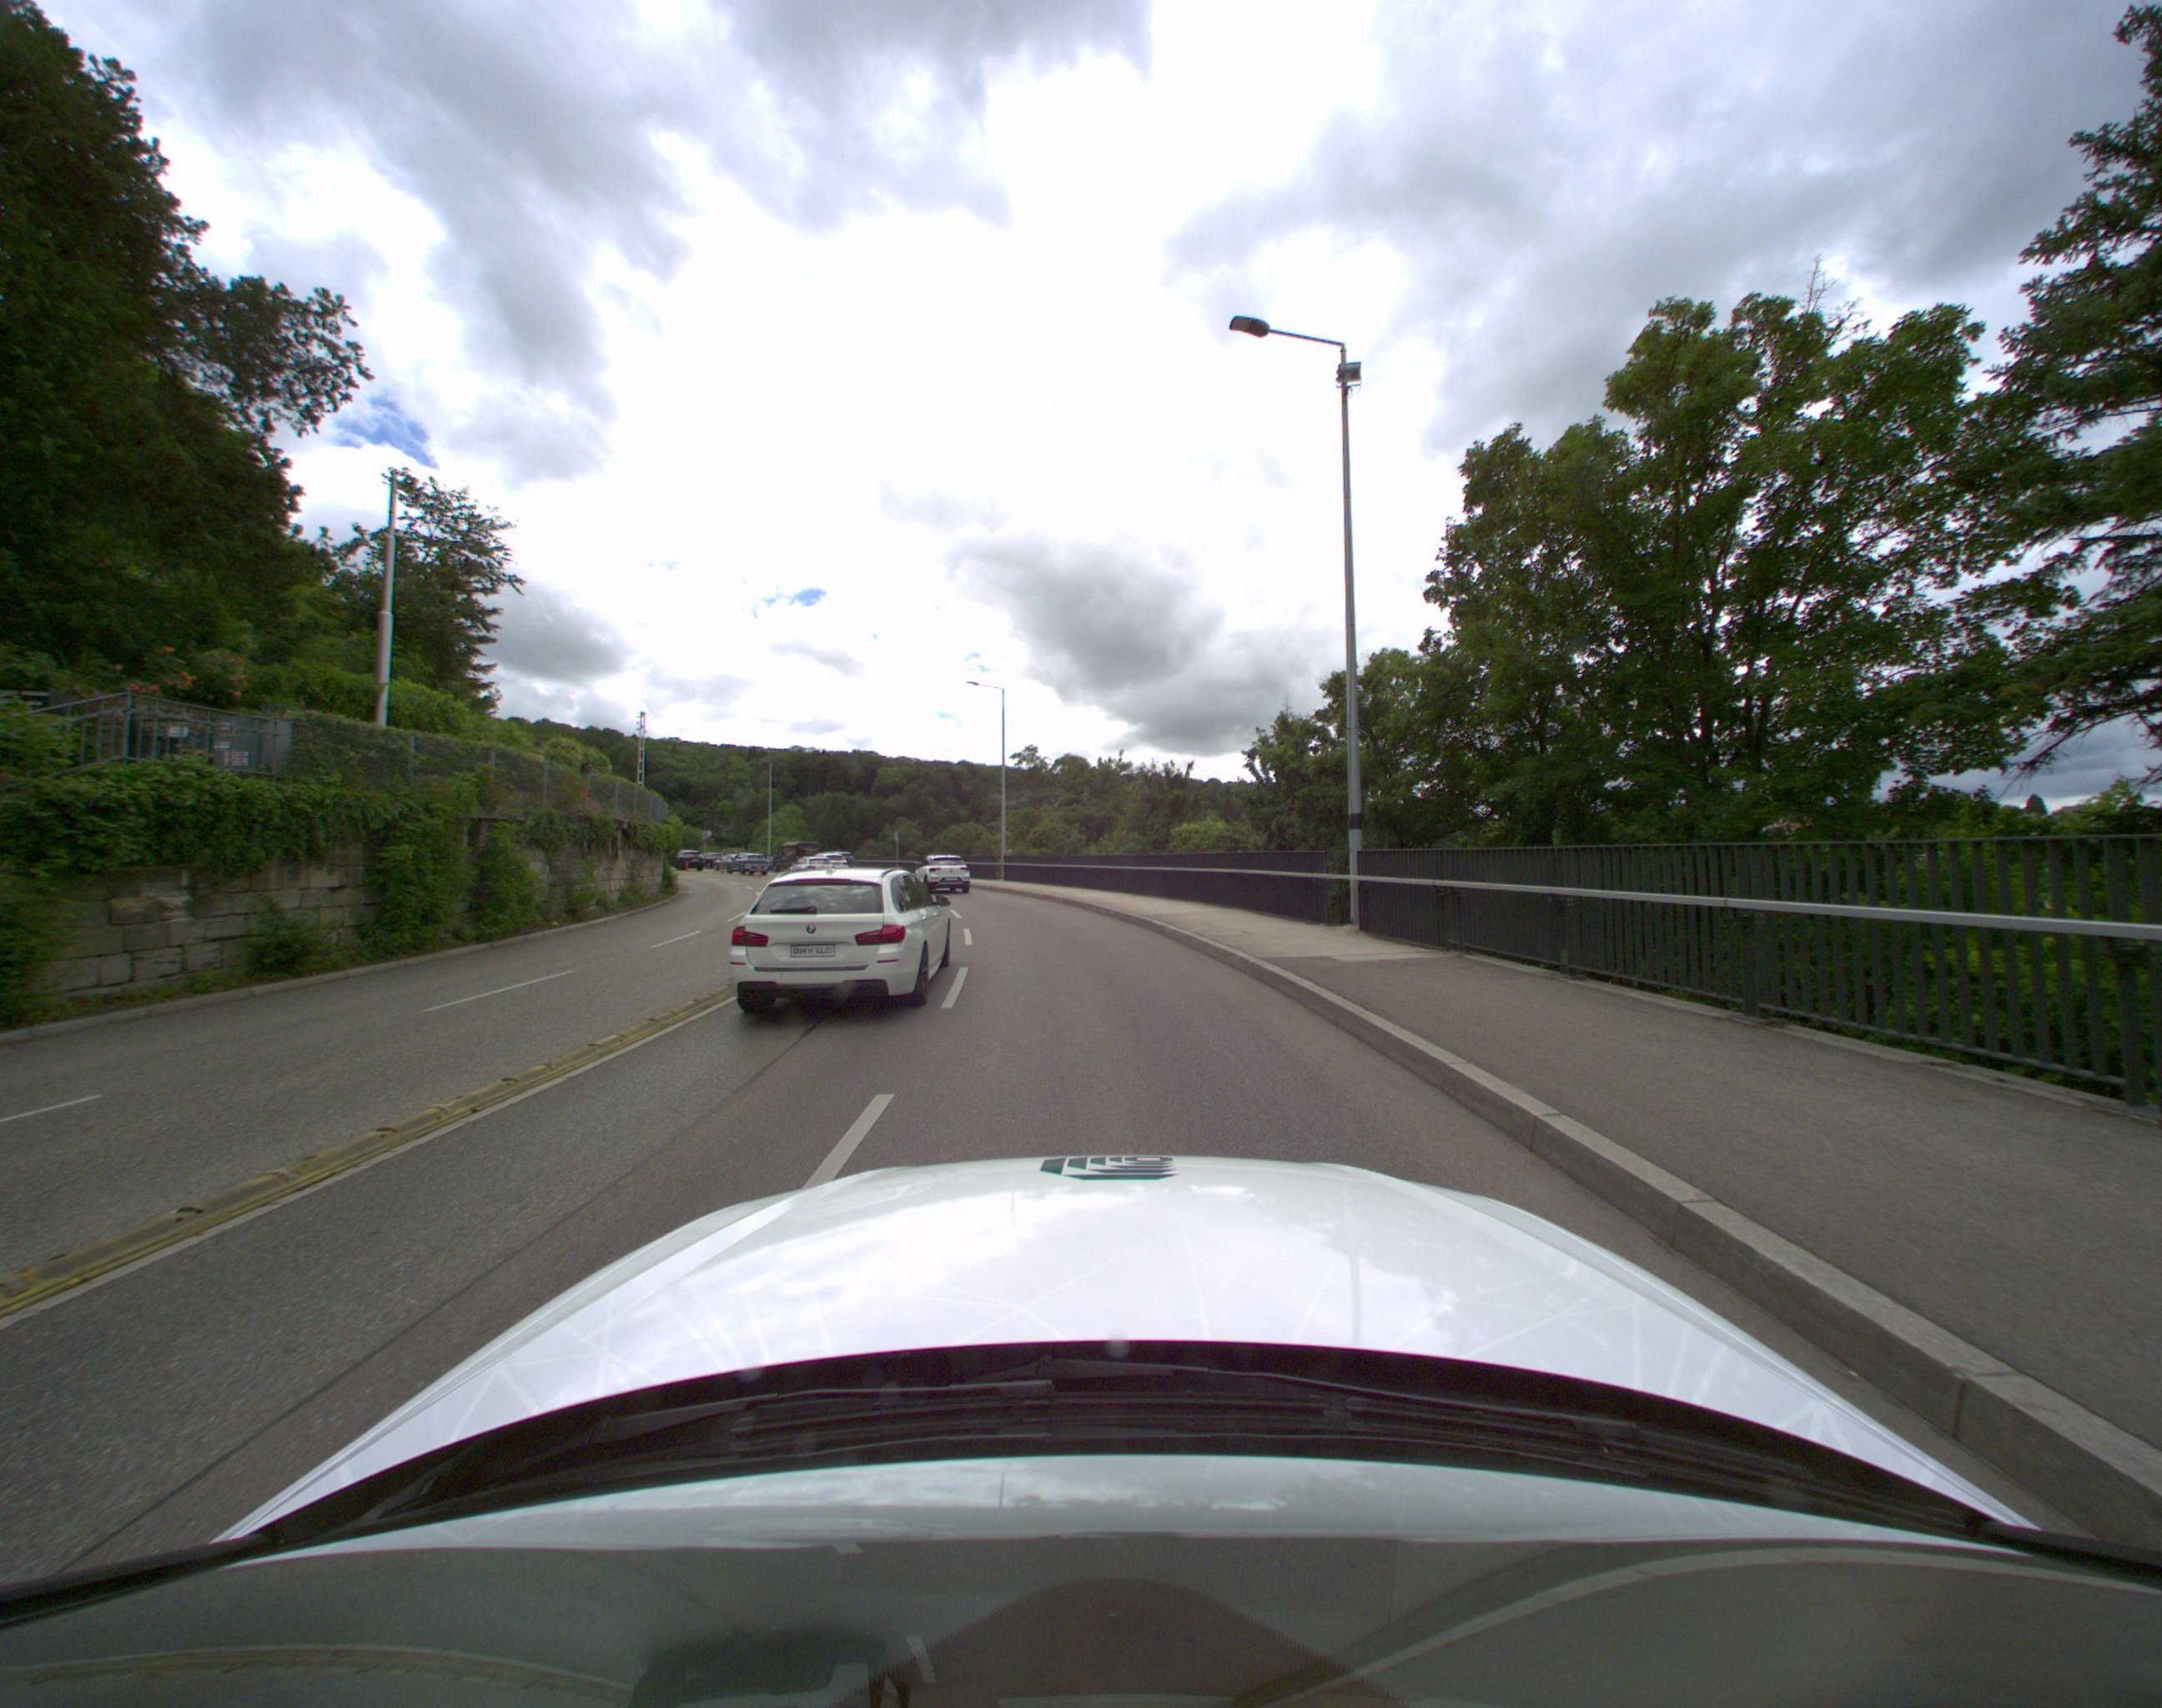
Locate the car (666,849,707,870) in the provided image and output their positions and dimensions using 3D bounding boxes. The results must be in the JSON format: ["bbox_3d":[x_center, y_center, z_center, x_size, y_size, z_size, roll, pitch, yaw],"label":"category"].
[{"bbox_3d":[-32.573,0.399,67.205,3.950,1.689,1.832,1,1,43],"label":"car"}]

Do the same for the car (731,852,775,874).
[{"bbox_3d":[-23.607,0.608,58.514,2.009,1.541,3.965,0,1,-37],"label":"car"}]

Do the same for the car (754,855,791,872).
[{"bbox_3d":[-26.771,0.776,70.662,3.538,1.415,1.682,1,1,45],"label":"car"}]

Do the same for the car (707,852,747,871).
[{"bbox_3d":[-29.715,0.642,68.388,3.491,1.525,1.710,1,1,40],"label":"car"}]

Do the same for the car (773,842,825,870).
[{"bbox_3d":[-23.124,0.152,66.632,4.673,2.193,2.095,1,1,43],"label":"car"}]

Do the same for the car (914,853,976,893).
[{"bbox_3d":[-5.792,0.768,34.271,1.874,1.536,3.777,-1,0,-21],"label":"car"}]

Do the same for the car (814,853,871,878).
[{"bbox_3d":[-15.935,0.727,54.568,1.980,1.586,4.014,0,1,13],"label":"car"}]

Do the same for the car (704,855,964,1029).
[{"bbox_3d":[-2.571,0.792,9.804,1.844,1.466,4.873,-1,1,-3],"label":"car"}]

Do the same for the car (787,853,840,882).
[{"bbox_3d":[-15.571,0.765,47.301,1.920,1.574,3.958,0,1,-34],"label":"car"}]

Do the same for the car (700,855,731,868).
[{"bbox_3d":[-34.363,0.714,76.496,3.455,1.160,1.540,1,1,45],"label":"car"}]
